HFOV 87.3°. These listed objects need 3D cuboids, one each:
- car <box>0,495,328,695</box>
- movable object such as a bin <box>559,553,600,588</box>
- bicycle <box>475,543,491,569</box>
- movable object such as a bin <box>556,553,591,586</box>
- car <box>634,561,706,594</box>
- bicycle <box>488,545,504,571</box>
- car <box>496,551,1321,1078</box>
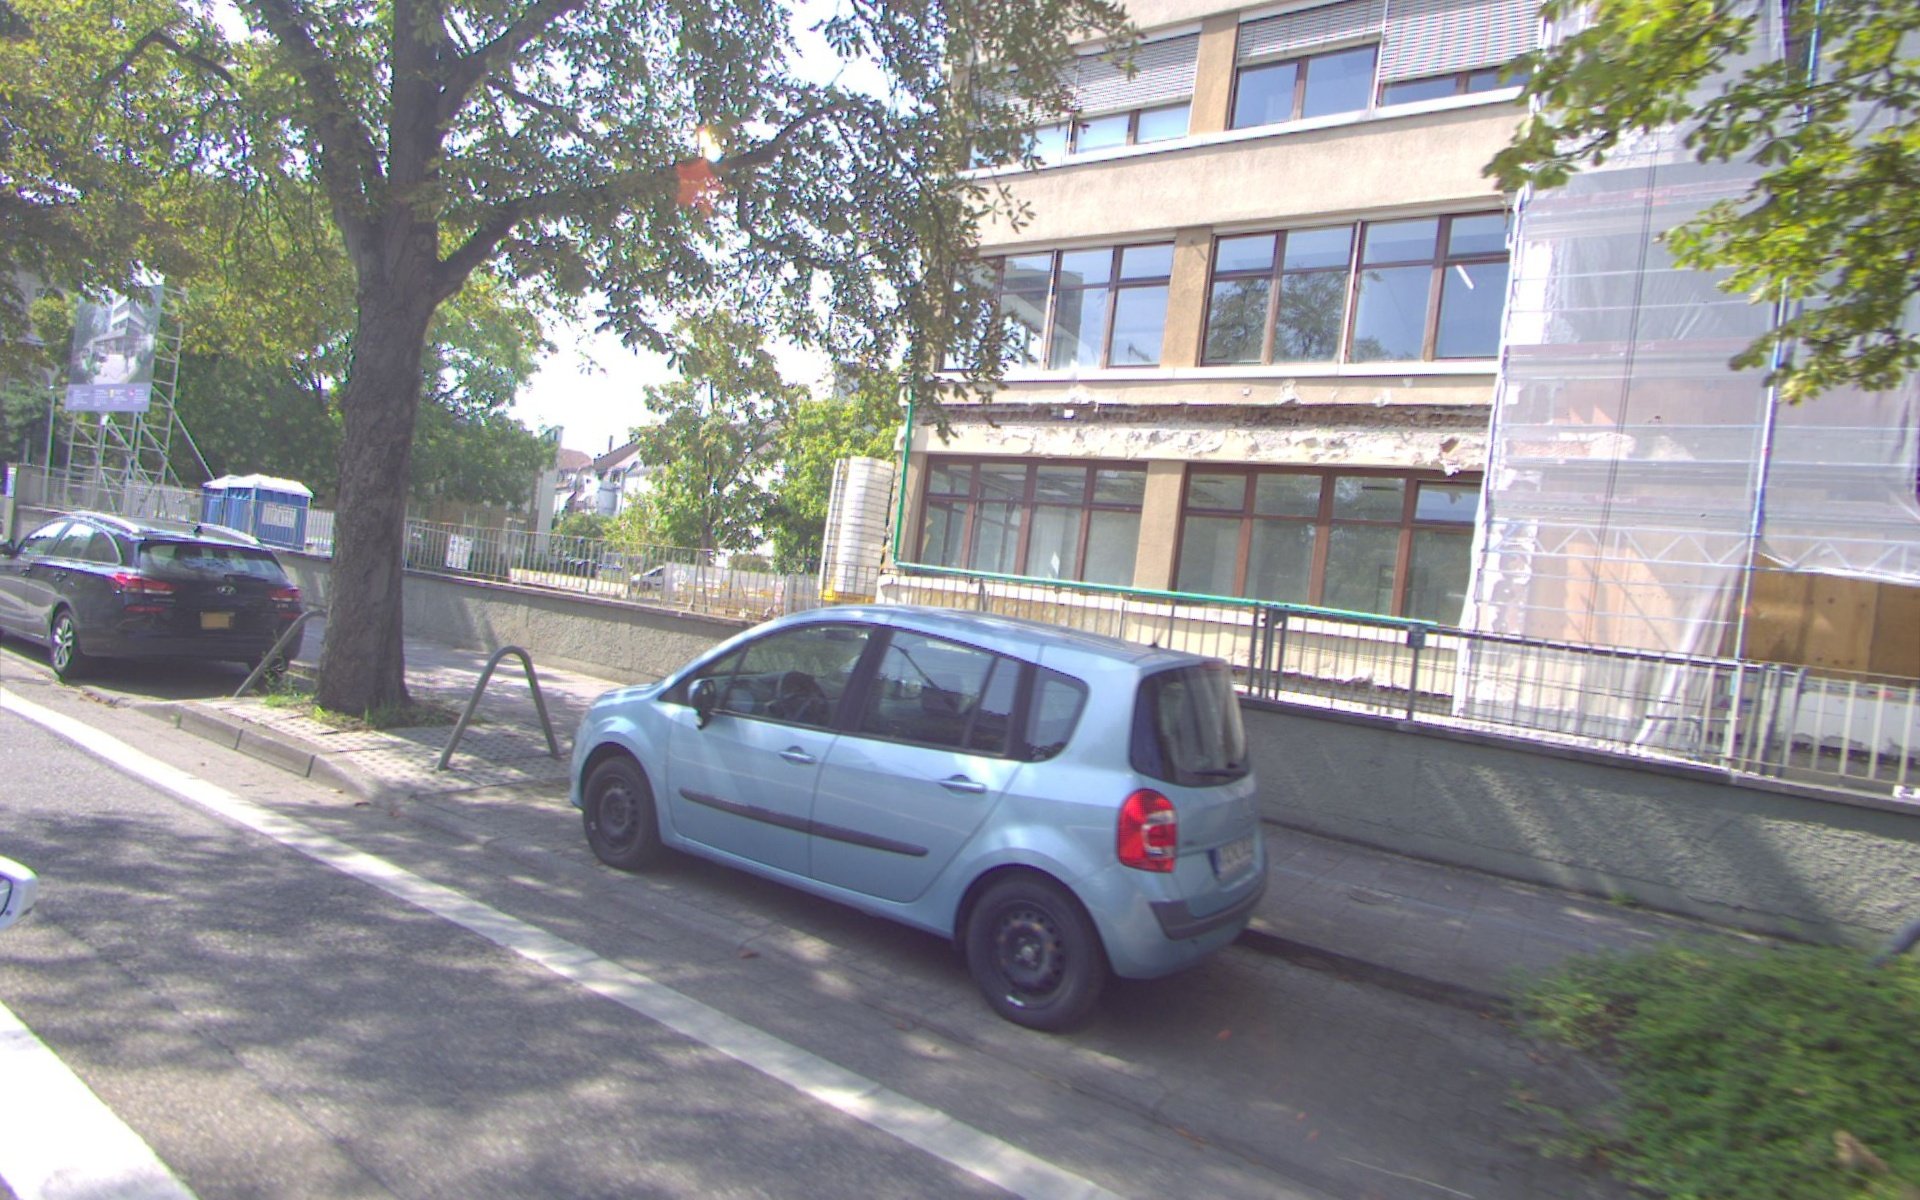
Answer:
[{"bbox_3d":[-8.568,-0.142,10.283,4.587,1.476,1.675,8,1,32],"label":"car"},{"bbox_3d":[-19.056,-1.465,50.345,1.328,1.511,1.355,7,1,-45],"label":"movable object such as a bin"},{"bbox_3d":[-26.612,-2.469,56.127,0.602,1.318,2.159,7,-1,-27],"label":"bicycle"},{"bbox_3d":[-19.862,-1.556,51.704,1.239,1.449,1.318,8,1,-37],"label":"movable object such as a bin"},{"bbox_3d":[-19.394,-1.504,67.315,4.256,1.613,1.787,8,-1,-29],"label":"car"},{"bbox_3d":[-25.981,-2.359,56.362,0.602,1.318,2.159,7,-1,-27],"label":"bicycle"},{"bbox_3d":[-0.448,0.762,5.411,4.103,1.600,1.675,7,1,32],"label":"car"}]
